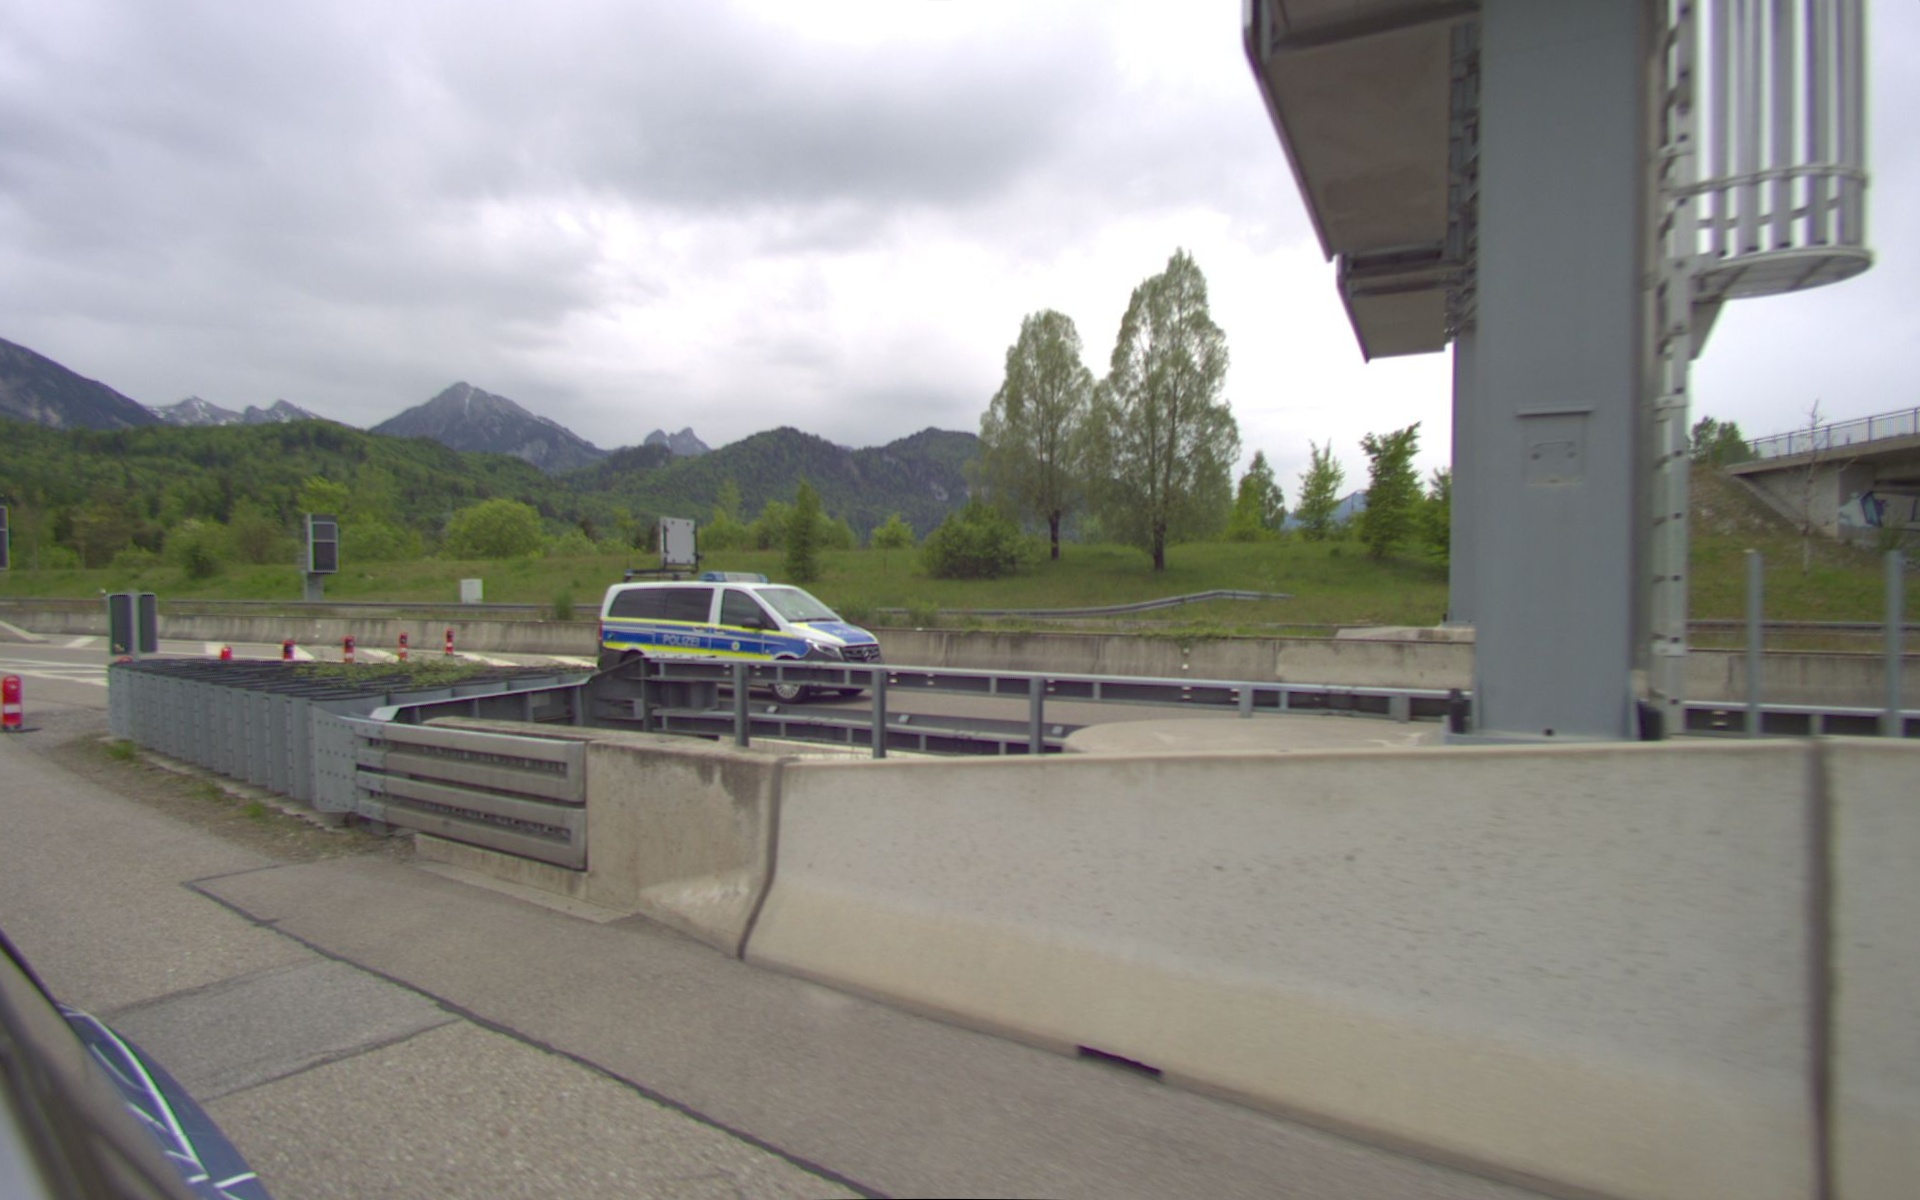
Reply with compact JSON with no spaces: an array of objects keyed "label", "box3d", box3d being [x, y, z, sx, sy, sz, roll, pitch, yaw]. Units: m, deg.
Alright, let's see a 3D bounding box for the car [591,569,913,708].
[{"label":"car","box3d":[-3.514,0.537,16.995,5.025,2.029,2.272,0,0,27]}]
